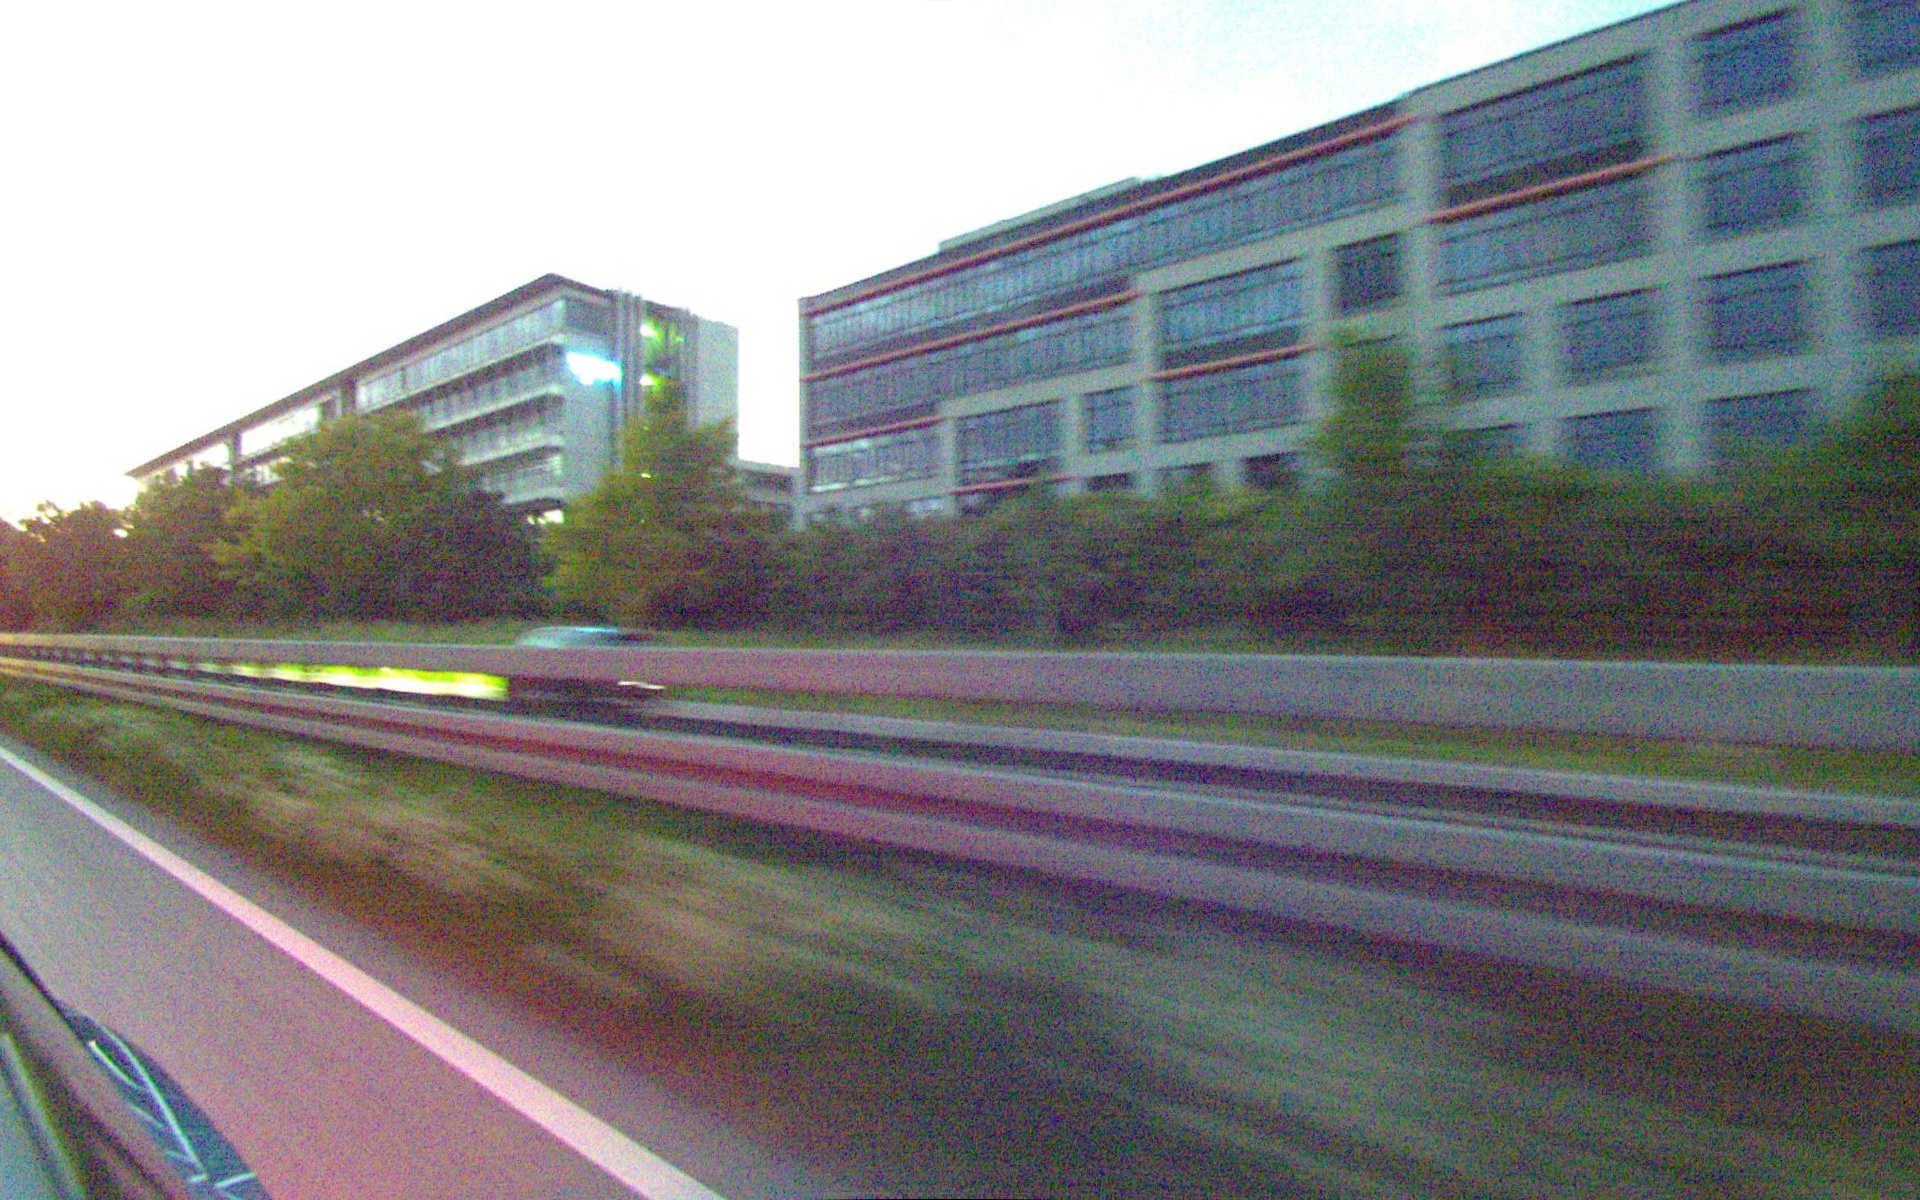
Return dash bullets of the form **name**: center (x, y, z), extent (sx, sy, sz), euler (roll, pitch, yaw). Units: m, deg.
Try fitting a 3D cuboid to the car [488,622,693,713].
- **car**: center (-6.781, 1.205, 18.437), extent (3.842, 1.480, 1.816), euler (-2, -4, 40)
